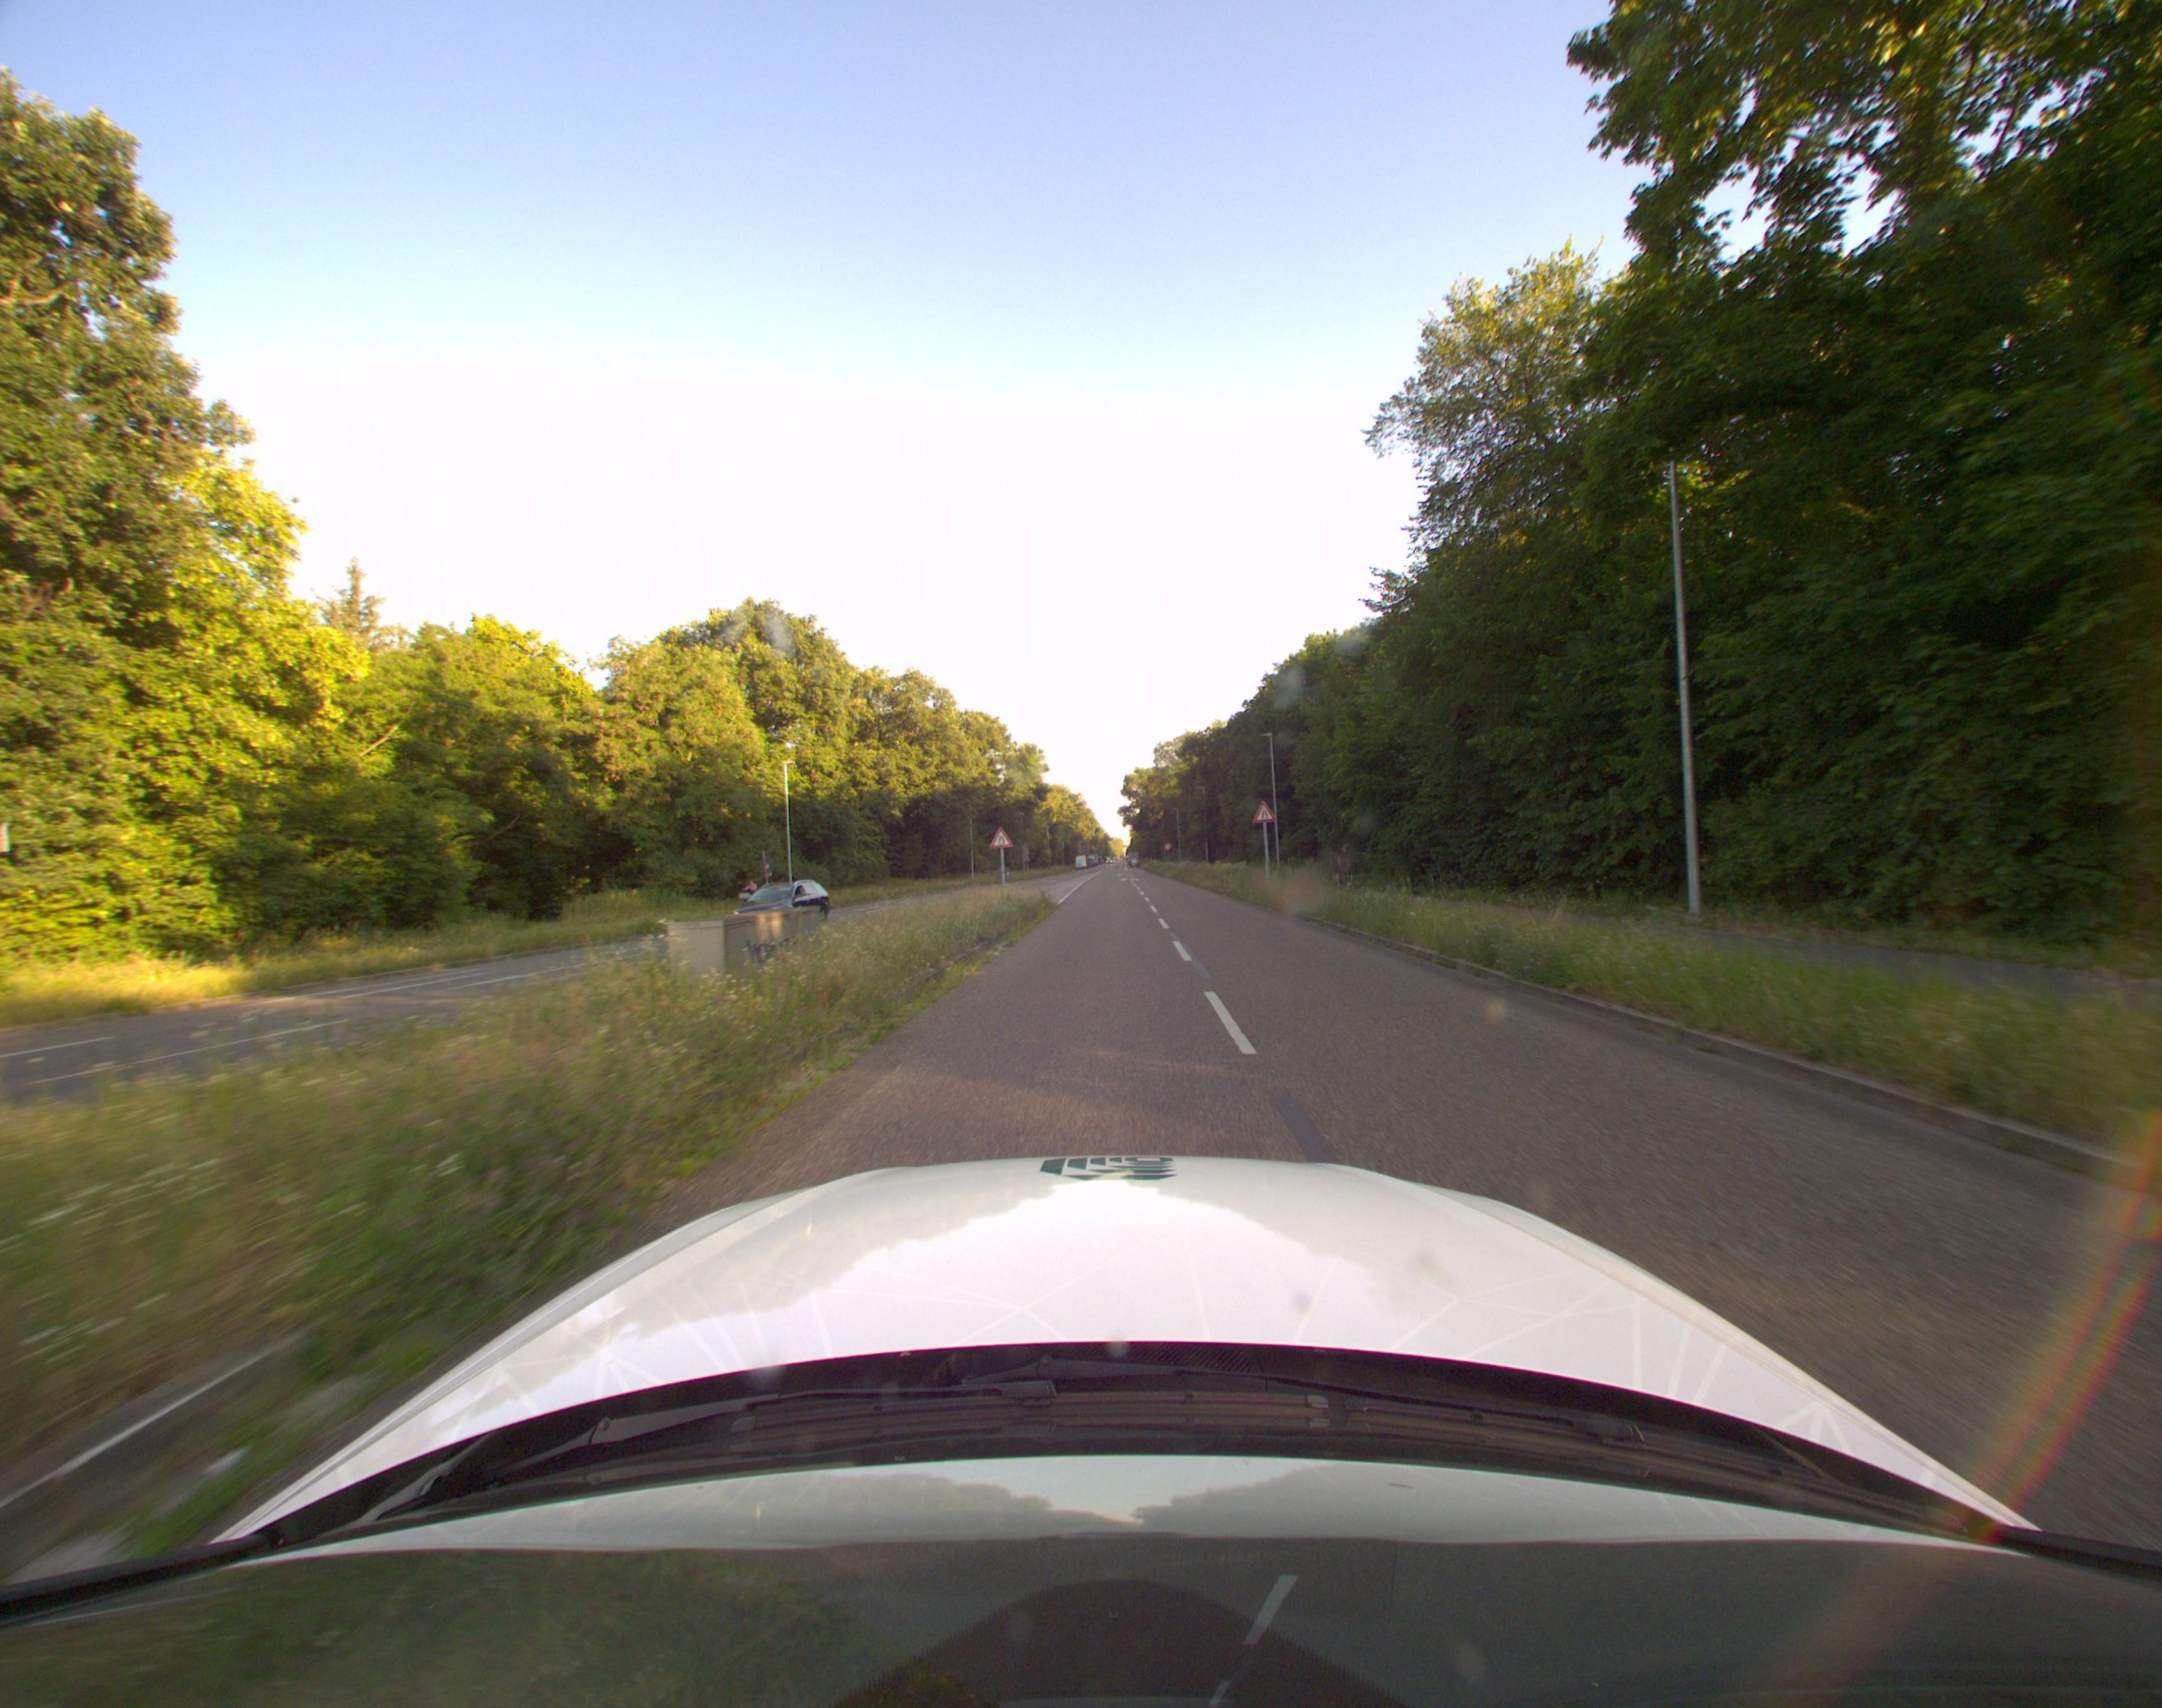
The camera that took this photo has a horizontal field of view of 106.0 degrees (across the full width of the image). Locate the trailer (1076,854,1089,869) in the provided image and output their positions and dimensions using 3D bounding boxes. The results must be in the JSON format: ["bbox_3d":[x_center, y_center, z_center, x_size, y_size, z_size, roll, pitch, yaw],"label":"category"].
[{"bbox_3d":[0.335,1.583,172.608,2.317,2.924,5.630,-5,-1,2],"label":"trailer"}]

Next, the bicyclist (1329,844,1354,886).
[{"bbox_3d":[9.280,0.390,29.001,0.600,1.455,0.780,-3,-1,3],"label":"bicyclist"}]

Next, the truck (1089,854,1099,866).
[{"bbox_3d":[3.810,1.763,241.008,2.494,3.328,6.846,-4,0,3],"label":"truck"}]

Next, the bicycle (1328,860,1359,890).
[{"bbox_3d":[9.296,0.736,28.880,0.608,0.995,1.692,-3,-1,4],"label":"bicycle"}]

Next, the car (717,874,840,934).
[{"bbox_3d":[-9.666,1.541,26.440,1.810,1.533,4.463,-5,-1,7],"label":"car"}]

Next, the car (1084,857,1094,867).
[{"bbox_3d":[1.996,1.960,197.927,1.985,2.364,5.770,-5,-1,3],"label":"car"}]

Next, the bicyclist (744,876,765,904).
[{"bbox_3d":[-17.050,1.863,42.516,0.582,1.429,0.824,-3,-1,9],"label":"bicyclist"}]

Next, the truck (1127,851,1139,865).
[{"bbox_3d":[12.120,0.904,188.738,2.577,3.255,7.229,-2,-1,4],"label":"truck"}]

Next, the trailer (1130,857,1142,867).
[{"bbox_3d":[10.532,1.513,156.382,1.445,1.662,3.793,-4,-1,16],"label":"trailer"}]

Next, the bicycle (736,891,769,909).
[{"bbox_3d":[-17.107,2.384,42.447,0.582,0.804,1.964,-3,0,9],"label":"bicycle"}]

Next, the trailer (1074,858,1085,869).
[{"bbox_3d":[-0.254,1.819,156.994,1.810,2.167,4.145,-4,-1,2],"label":"trailer"}]
